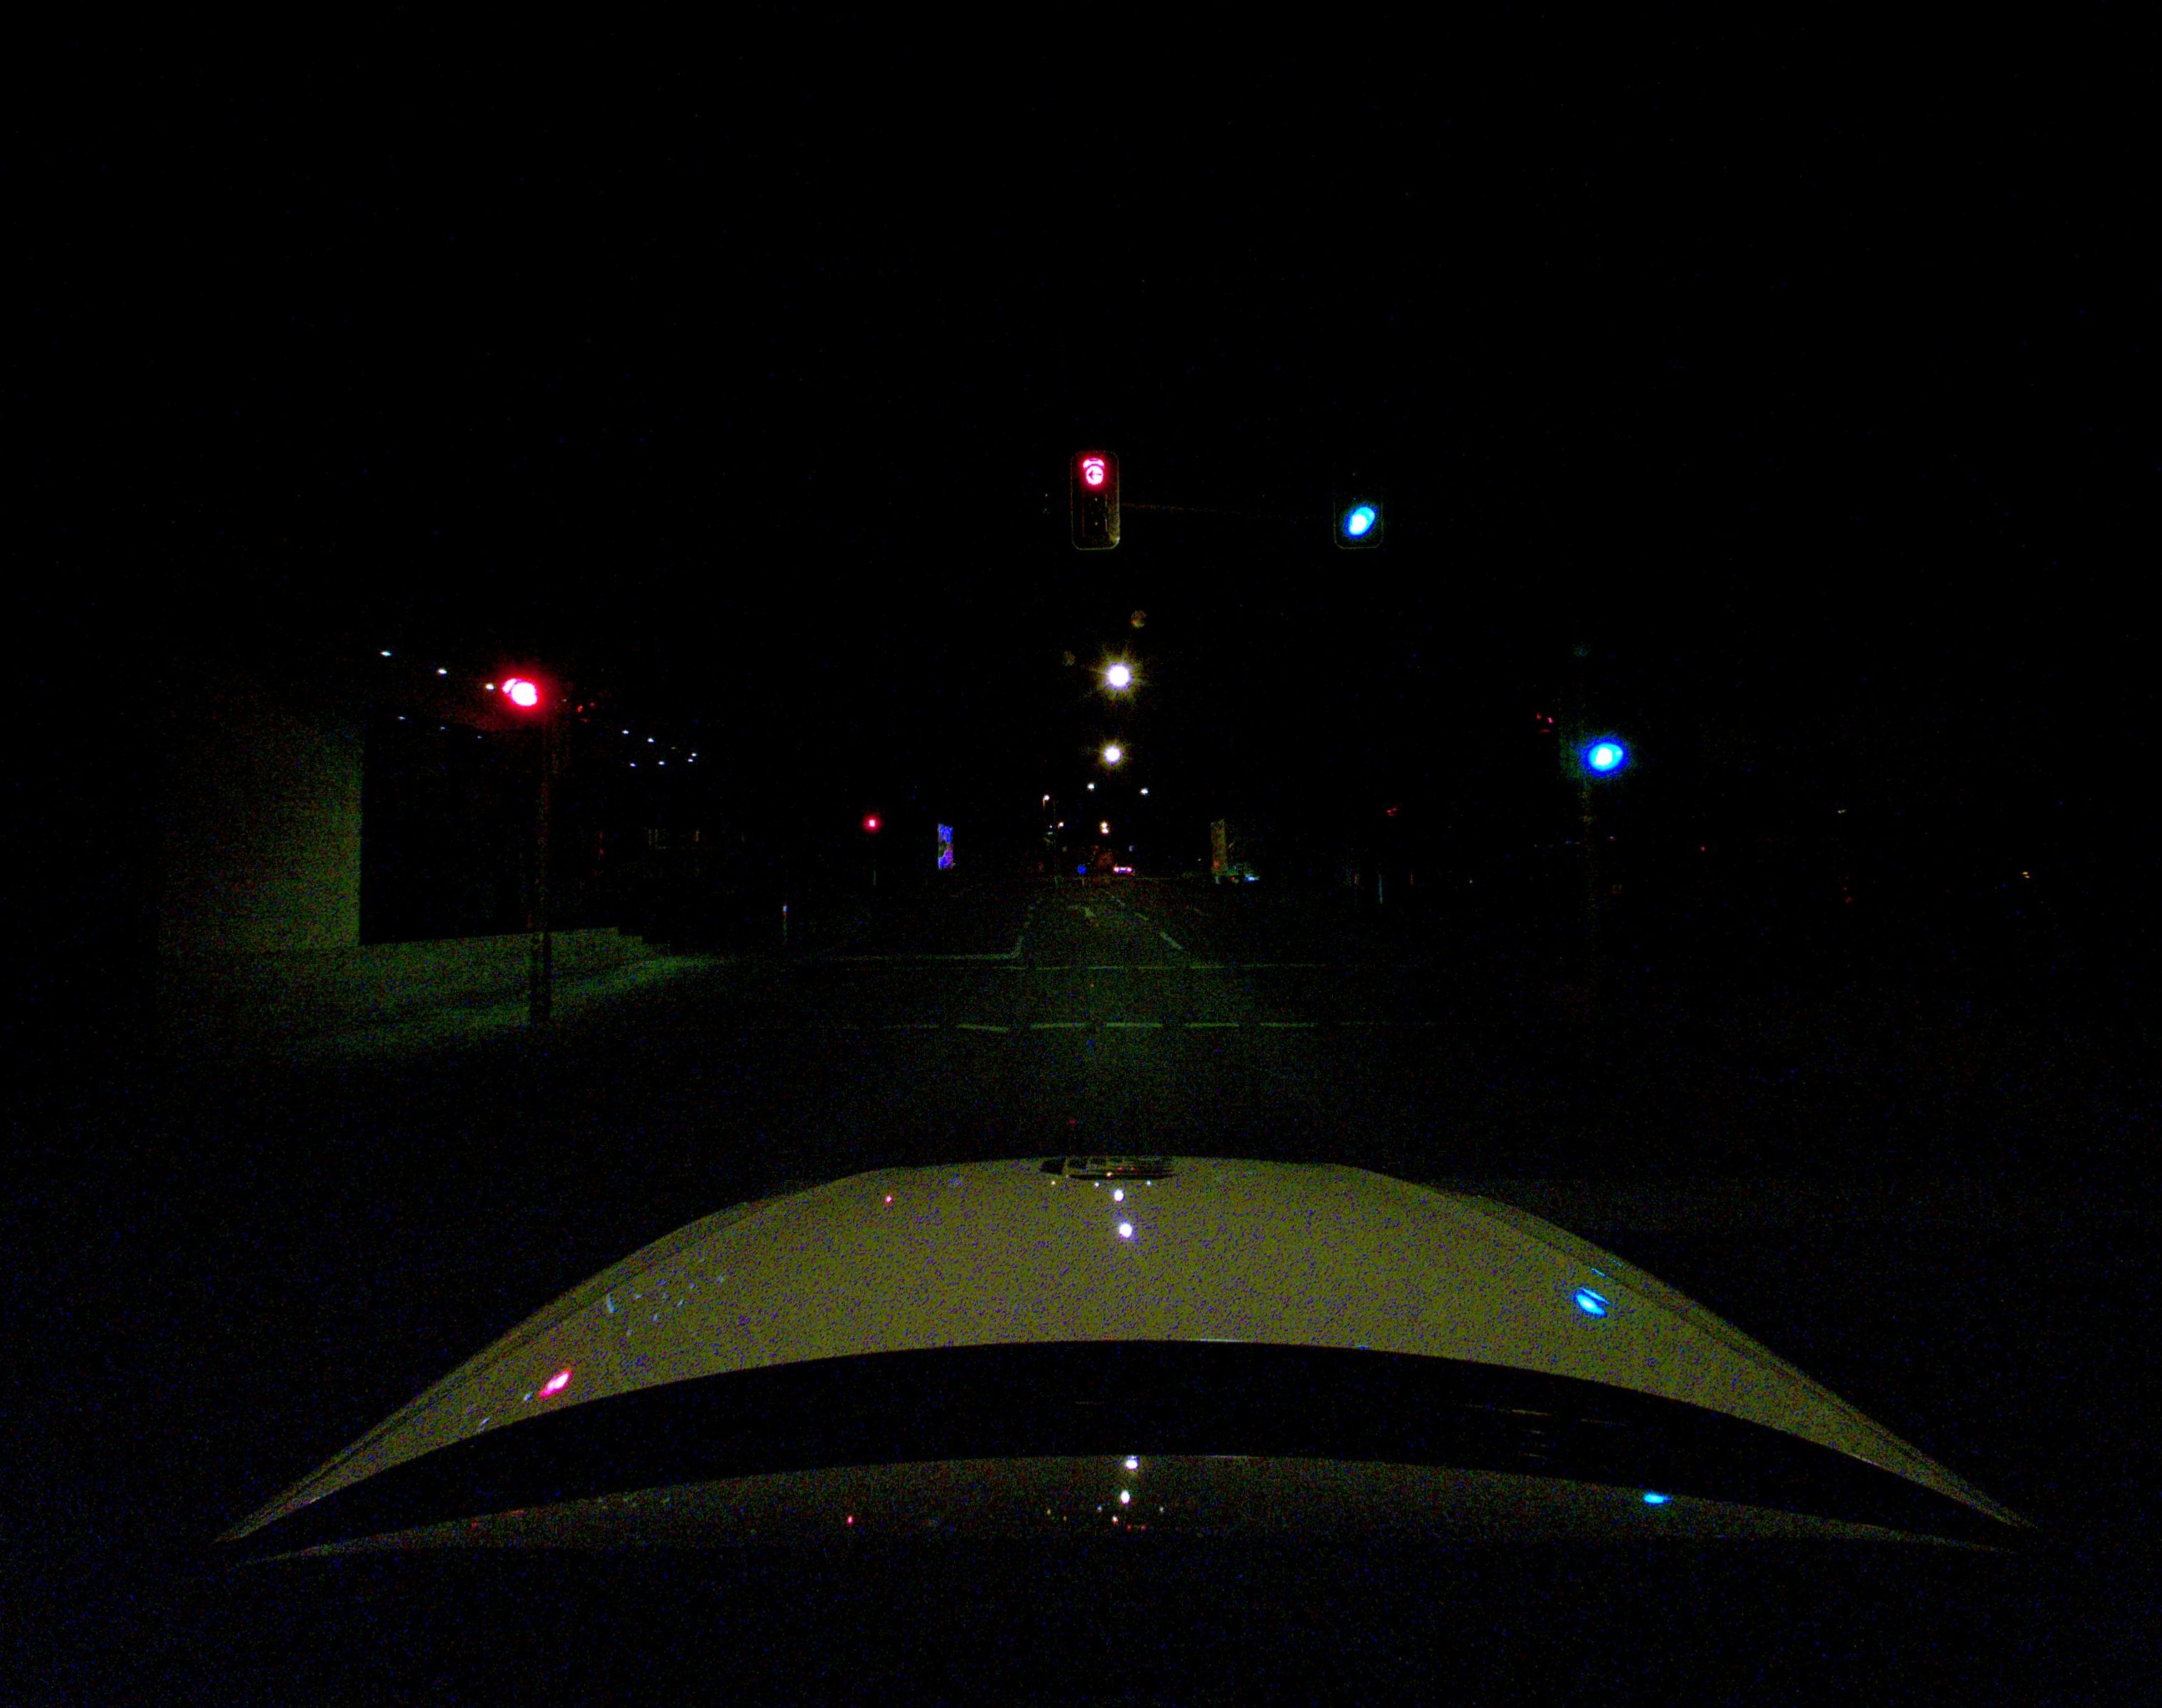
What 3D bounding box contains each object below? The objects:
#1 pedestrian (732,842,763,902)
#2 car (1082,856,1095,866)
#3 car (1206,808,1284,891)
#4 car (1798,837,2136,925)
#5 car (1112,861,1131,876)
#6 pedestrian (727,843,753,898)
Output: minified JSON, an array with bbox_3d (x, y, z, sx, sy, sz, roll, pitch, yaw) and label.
[{"bbox_3d":[-10.044,0.543,24.541,0.568,1.778,0.737,1,-1,1],"label":"pedestrian"},{"bbox_3d":[1.261,1.169,134.545,1.901,1.557,3.906,0,-1,2],"label":"car"},{"bbox_3d":[6.762,-0.151,34.218,2.287,3.093,5.845,-2,-1,3],"label":"car"},{"bbox_3d":[17.457,0.566,16.284,4.342,1.560,1.807,-2,-3,8],"label":"car"},{"bbox_3d":[4.089,1.411,82.630,1.770,1.486,3.999,0,-1,0],"label":"car"},{"bbox_3d":[-10.740,0.513,25.655,0.568,1.731,0.544,0,-1,1],"label":"pedestrian"}]
